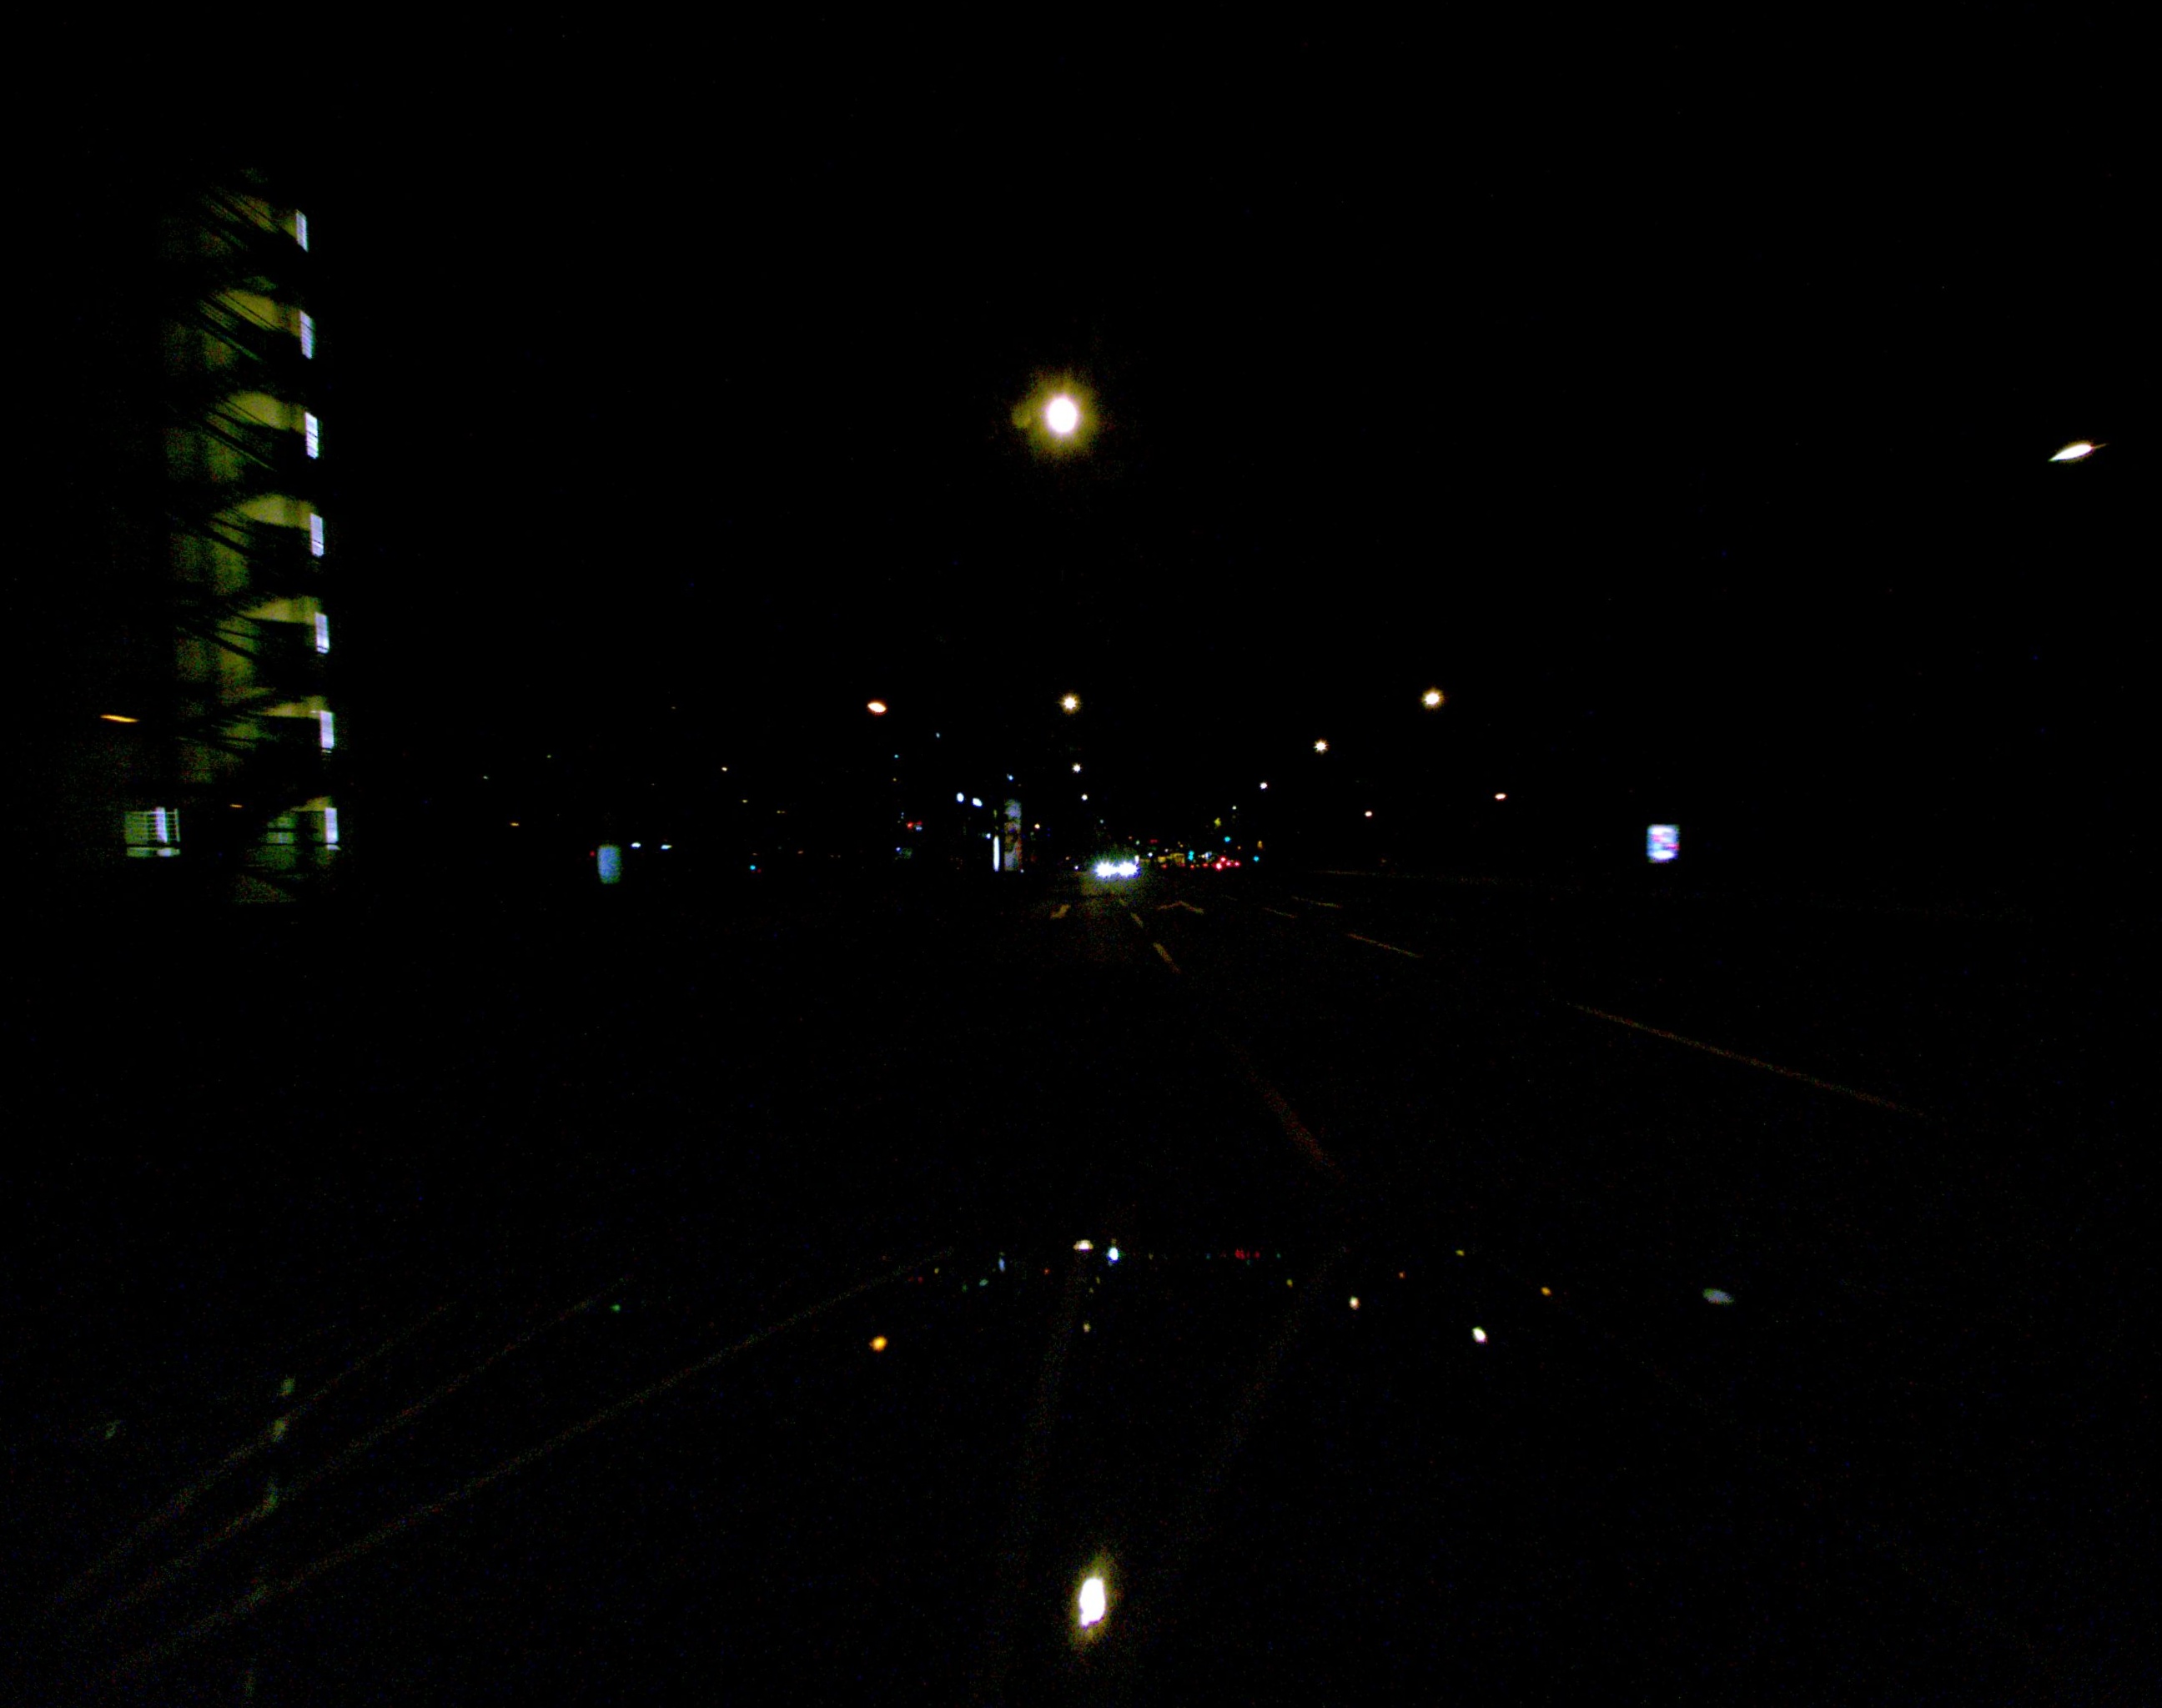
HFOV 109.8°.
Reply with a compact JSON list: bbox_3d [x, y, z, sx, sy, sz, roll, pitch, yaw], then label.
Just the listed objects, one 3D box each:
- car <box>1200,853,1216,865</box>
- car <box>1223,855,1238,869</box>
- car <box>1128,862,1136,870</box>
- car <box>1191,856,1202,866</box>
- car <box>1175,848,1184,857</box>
[{"bbox_3d":[21.032,0.791,125.738,1.795,1.728,3.999,-3,1,-1],"label":"car"},{"bbox_3d":[23.301,1.260,118.262,2.059,2.002,4.002,-2,1,9],"label":"car"},{"bbox_3d":[13.178,3.102,196.944,1.794,2.002,4.001,-3,1,6],"label":"car"},{"bbox_3d":[23.005,1.336,151.541,1.794,1.779,4.000,-3,1,5],"label":"car"},{"bbox_3d":[21.075,-0.326,162.855,1.794,1.896,4.000,-3,1,5],"label":"car"}]
